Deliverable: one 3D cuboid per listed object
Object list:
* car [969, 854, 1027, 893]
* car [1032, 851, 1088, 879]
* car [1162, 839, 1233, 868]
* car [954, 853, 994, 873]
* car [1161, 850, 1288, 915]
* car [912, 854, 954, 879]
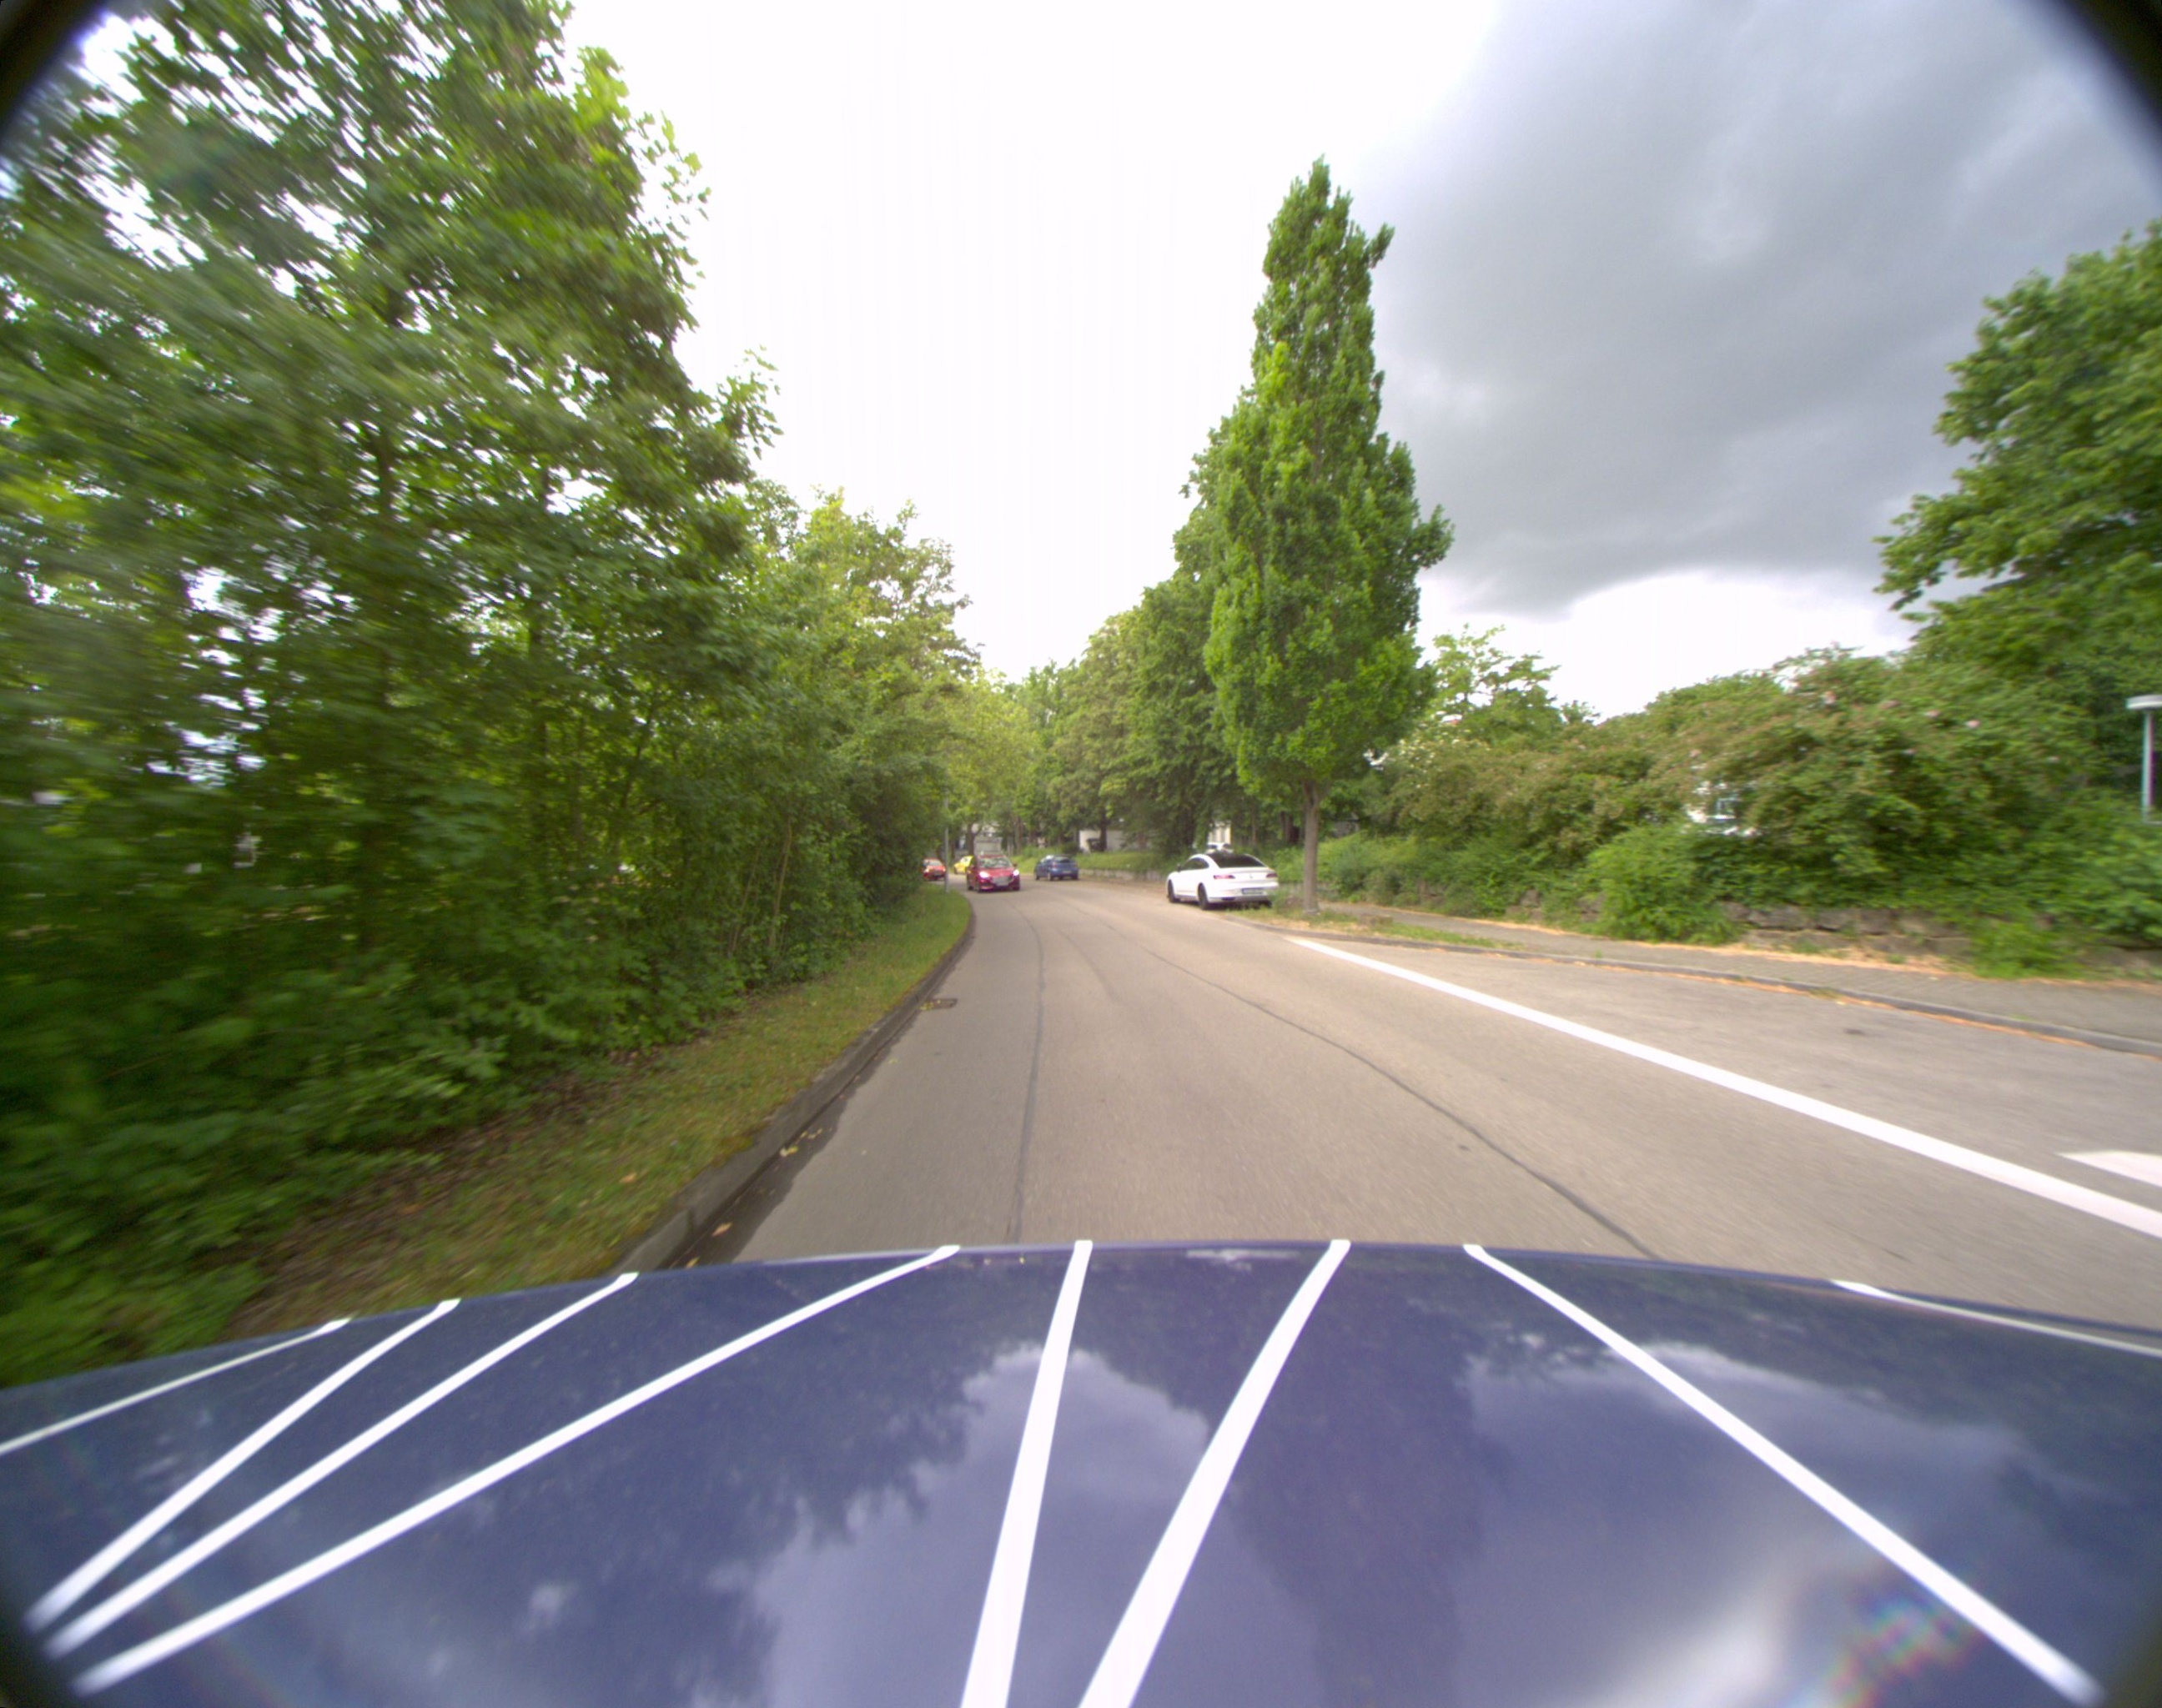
[{"bbox_3d":[-3.858,0.820,34.526,1.947,1.550,4.349,-2,1,-15],"label":"car"},{"bbox_3d":[-1.243,0.599,42.727,1.855,1.483,3.993,-2,0,-22],"label":"car"},{"bbox_3d":[7.205,-0.022,46.944,3.801,1.629,2.003,-1,2,35],"label":"car"},{"bbox_3d":[-8.431,0.689,59.445,1.856,1.483,3.991,-2,1,-27],"label":"car"},{"bbox_3d":[3.667,0.675,20.307,1.854,1.483,4.632,-2,0,-9],"label":"car"},{"bbox_3d":[-10.068,0.827,51.417,1.951,1.523,4.078,-3,1,-23],"label":"car"}]
